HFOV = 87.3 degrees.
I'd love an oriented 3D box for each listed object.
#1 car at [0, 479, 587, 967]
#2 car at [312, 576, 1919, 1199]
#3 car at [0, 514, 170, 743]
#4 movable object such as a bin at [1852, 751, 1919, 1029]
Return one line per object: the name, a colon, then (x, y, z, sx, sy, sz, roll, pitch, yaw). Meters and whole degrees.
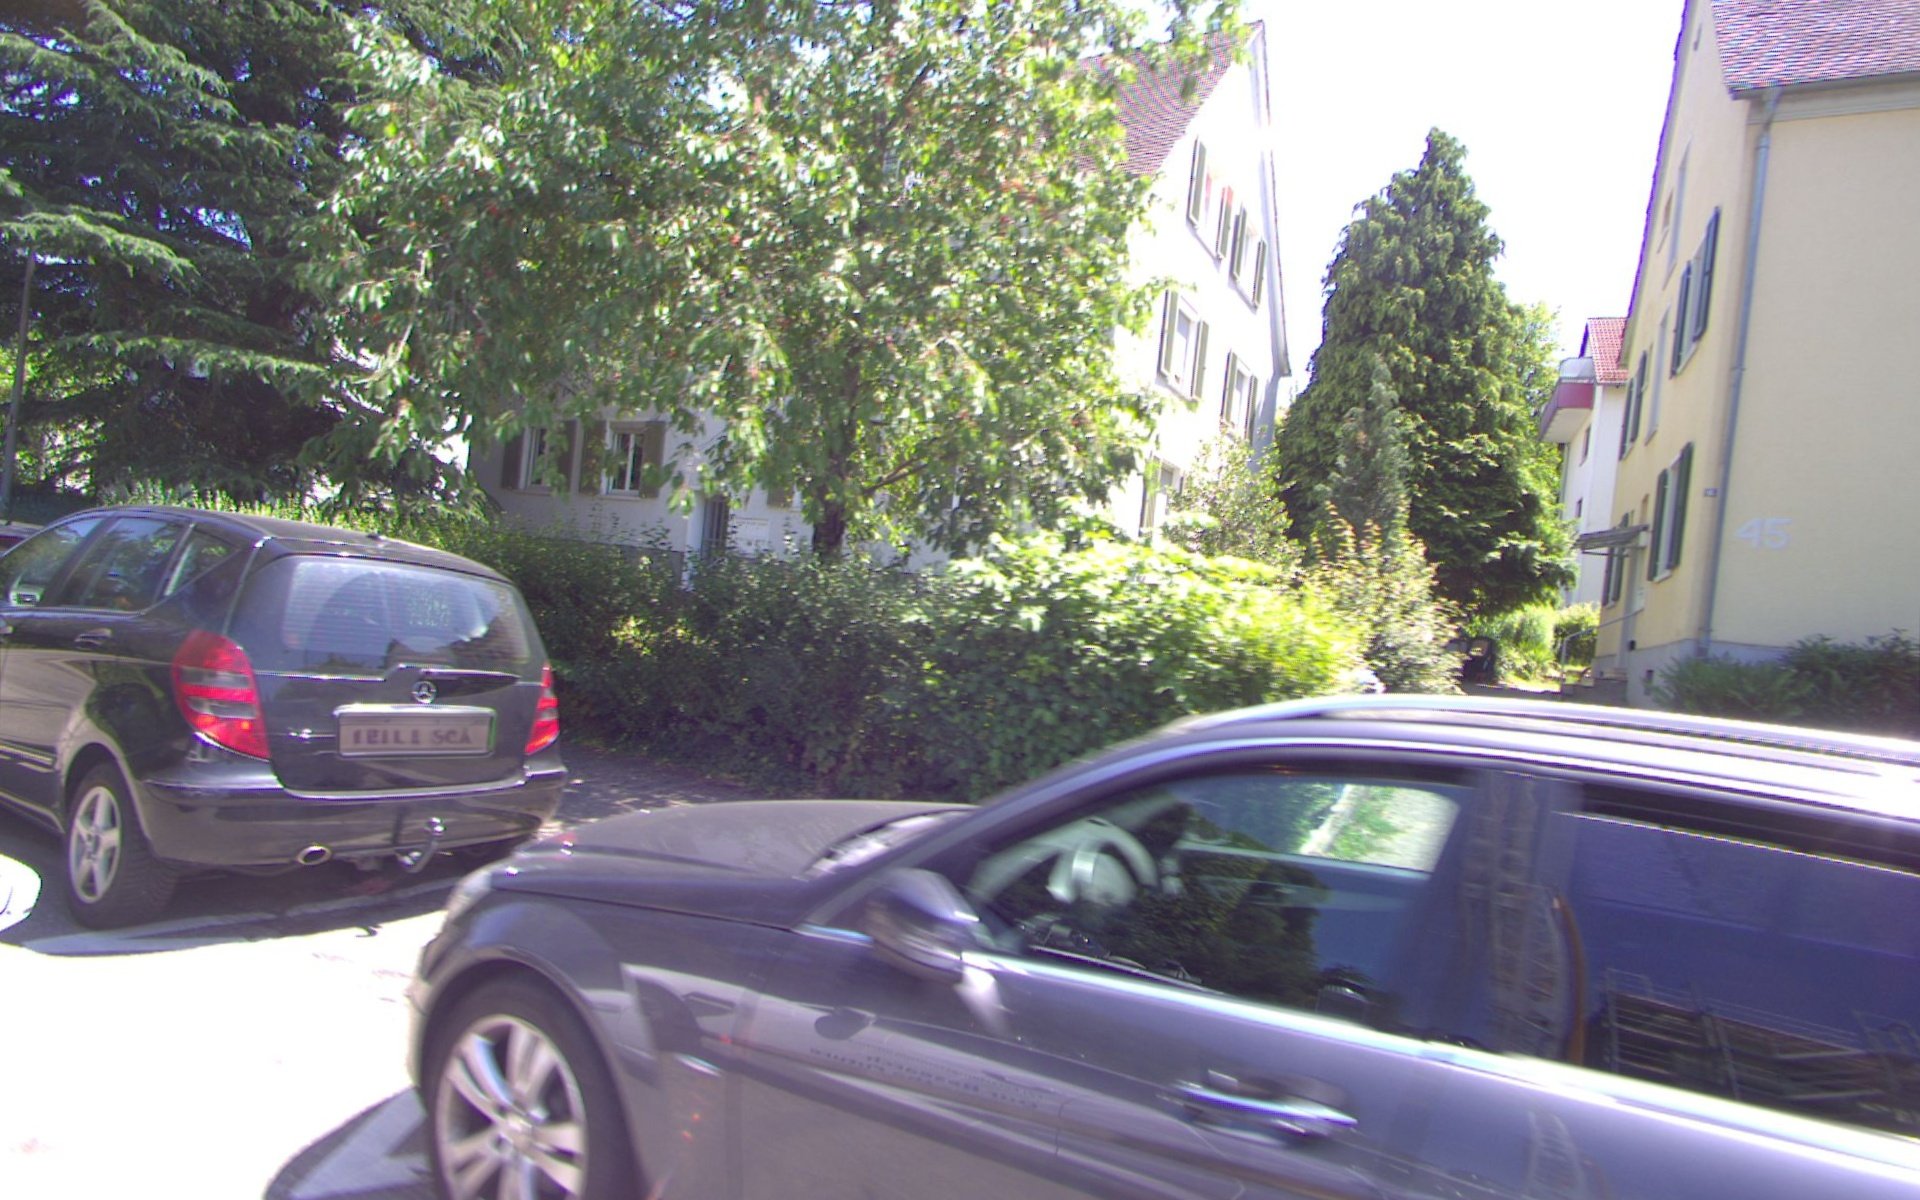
car: (-3.891, 0.344, 5.039, 3.942, 1.594, 1.584, 5, -2, 32)
car: (0.741, 0.886, 2.102, 4.132, 1.448, 1.666, 5, -3, 29)
car: (-7.853, 0.045, 7.767, 3.946, 1.458, 1.585, 5, -5, 36)
movable object such as a bin: (4.589, 1.354, 4.664, 0.425, 1.188, 0.481, 6, 4, 22)
